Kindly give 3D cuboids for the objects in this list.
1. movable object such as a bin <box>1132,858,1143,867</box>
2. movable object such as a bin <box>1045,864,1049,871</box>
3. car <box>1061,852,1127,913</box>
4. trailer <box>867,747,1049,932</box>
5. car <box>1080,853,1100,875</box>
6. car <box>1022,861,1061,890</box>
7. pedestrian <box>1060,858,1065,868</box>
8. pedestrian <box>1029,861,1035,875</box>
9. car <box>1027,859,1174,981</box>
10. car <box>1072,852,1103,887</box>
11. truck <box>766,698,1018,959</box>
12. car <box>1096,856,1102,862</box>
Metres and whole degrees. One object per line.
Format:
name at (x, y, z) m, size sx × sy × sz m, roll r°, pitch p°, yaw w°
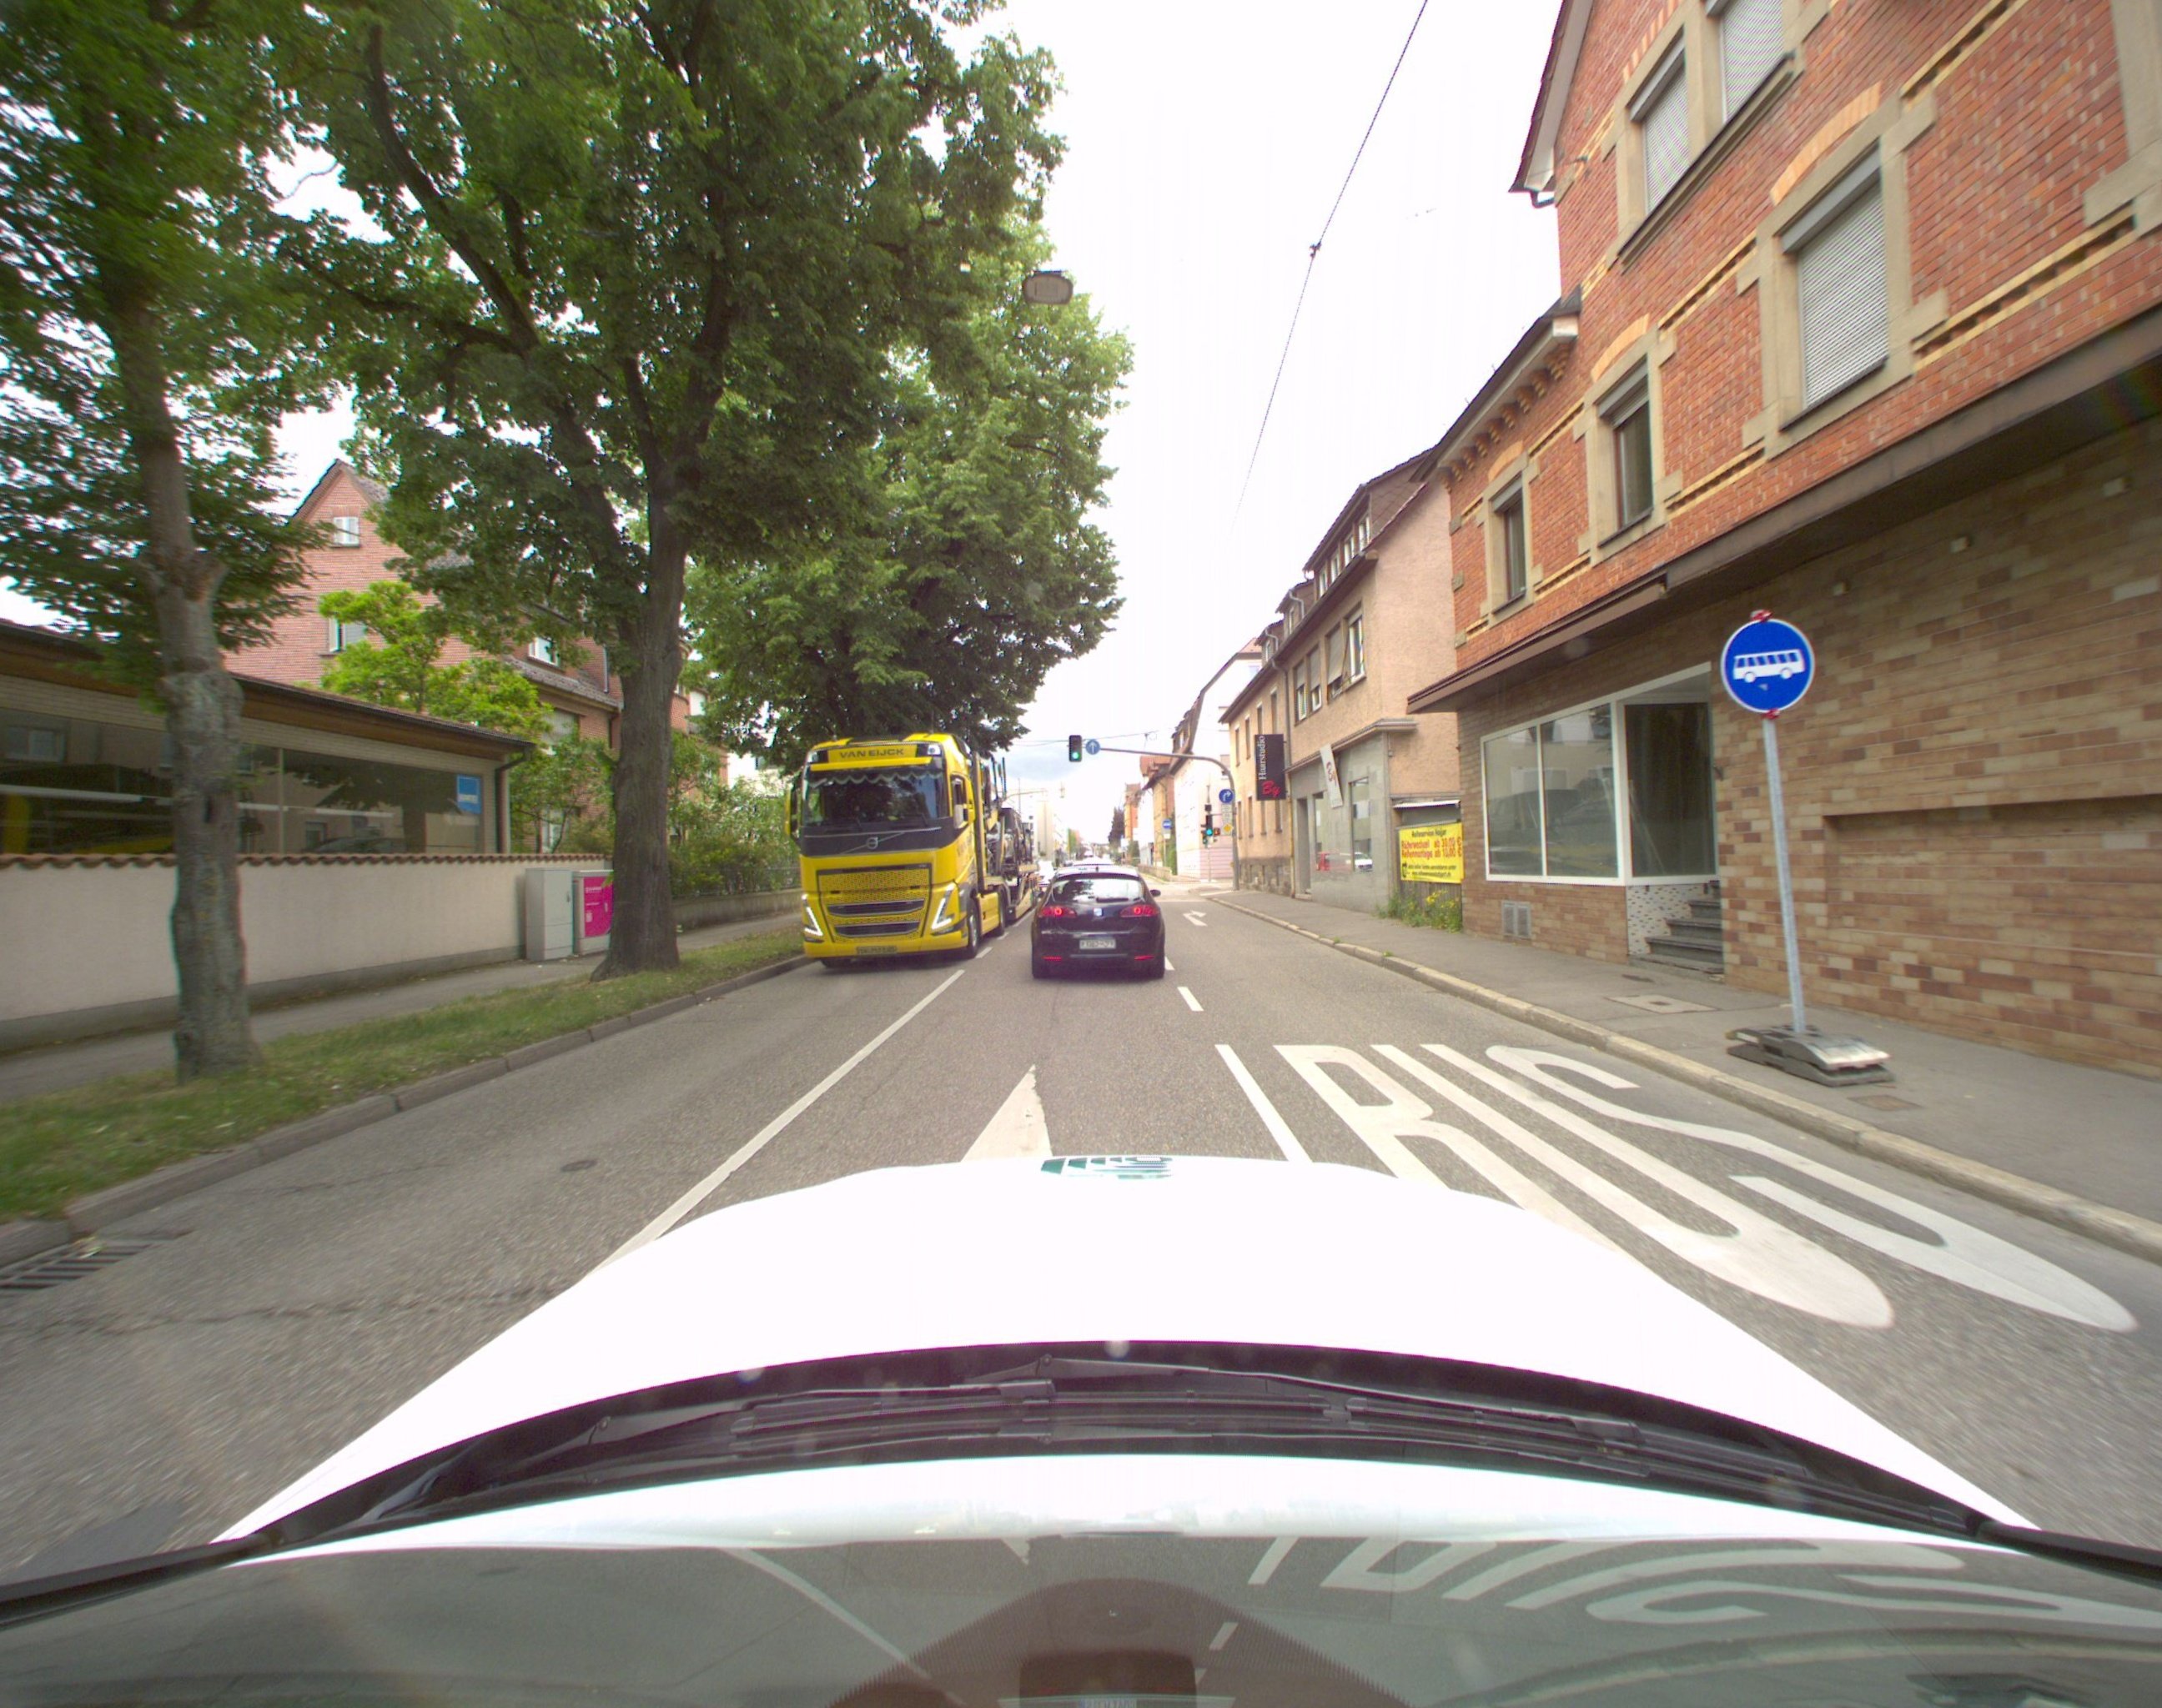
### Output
movable object such as a bin at (9.072, 1.364, 130.842) m, size 1.811 × 1.437 × 1.993 m, roll -1°, pitch -1°, yaw 2°
movable object such as a bin at (-4.771, 1.895, 113.546) m, size 0.547 × 1.078 × 0.612 m, roll -1°, pitch -1°, yaw 2°
car at (0.386, 0.819, 24.733) m, size 1.836 × 1.693 × 4.000 m, roll -1°, pitch -1°, yaw 1°
trailer at (-2.857, -0.196, 24.137) m, size 2.848 × 3.808 × 14.393 m, roll -1°, pitch -1°, yaw 1°
car at (0.751, 0.830, 66.050) m, size 1.526 × 1.693 × 3.693 m, roll -1°, pitch -1°, yaw 1°
car at (-2.222, 1.212, 46.705) m, size 1.760 × 1.470 × 4.227 m, roll -5°, pitch -1°, yaw 1°
pedestrian at (-3.149, 1.583, 140.403) m, size 0.728 × 1.729 × 0.859 m, roll -1°, pitch -1°, yaw 0°
pedestrian at (-5.161, 1.479, 85.641) m, size 0.525 × 1.548 × 0.541 m, roll -1°, pitch -1°, yaw 1°
car at (0.275, 0.827, 11.822) m, size 1.753 × 1.442 × 4.000 m, roll -1°, pitch -1°, yaw 1°
car at (0.350, 0.793, 41.711) m, size 1.526 × 1.693 × 3.693 m, roll -1°, pitch -1°, yaw 1°
truck at (-3.067, -0.318, 15.713) m, size 2.833 × 3.782 × 7.671 m, roll -1°, pitch -1°, yaw 2°
car at (4.760, 1.300, 219.974) m, size 1.526 × 1.693 × 3.693 m, roll -2°, pitch 0°, yaw 1°
